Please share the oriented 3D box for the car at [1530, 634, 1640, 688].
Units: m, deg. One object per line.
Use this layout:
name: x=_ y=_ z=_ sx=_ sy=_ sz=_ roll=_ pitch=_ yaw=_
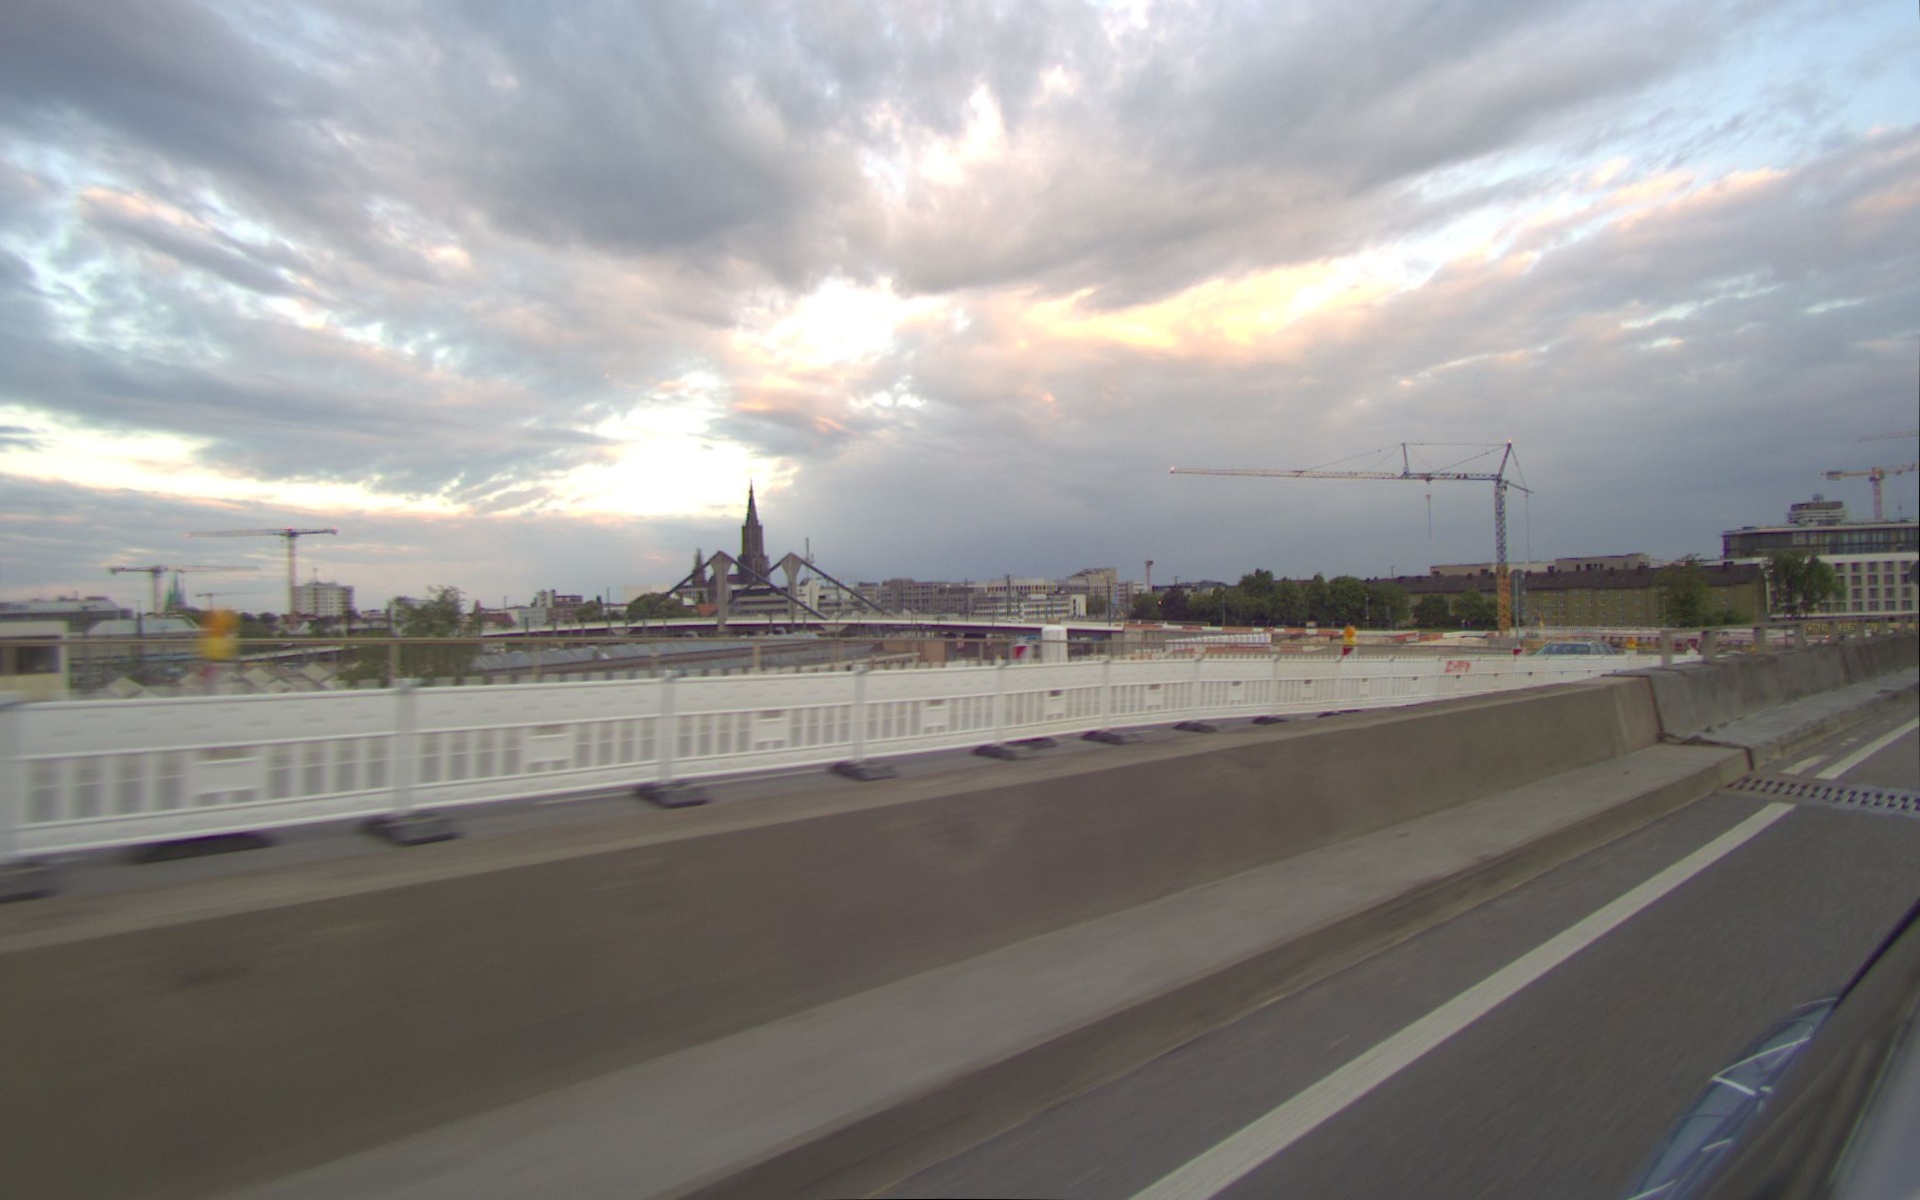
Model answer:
car: x=19.324 y=1.839 z=31.248 sx=3.929 sy=1.510 sz=1.753 roll=1 pitch=-2 yaw=-40
